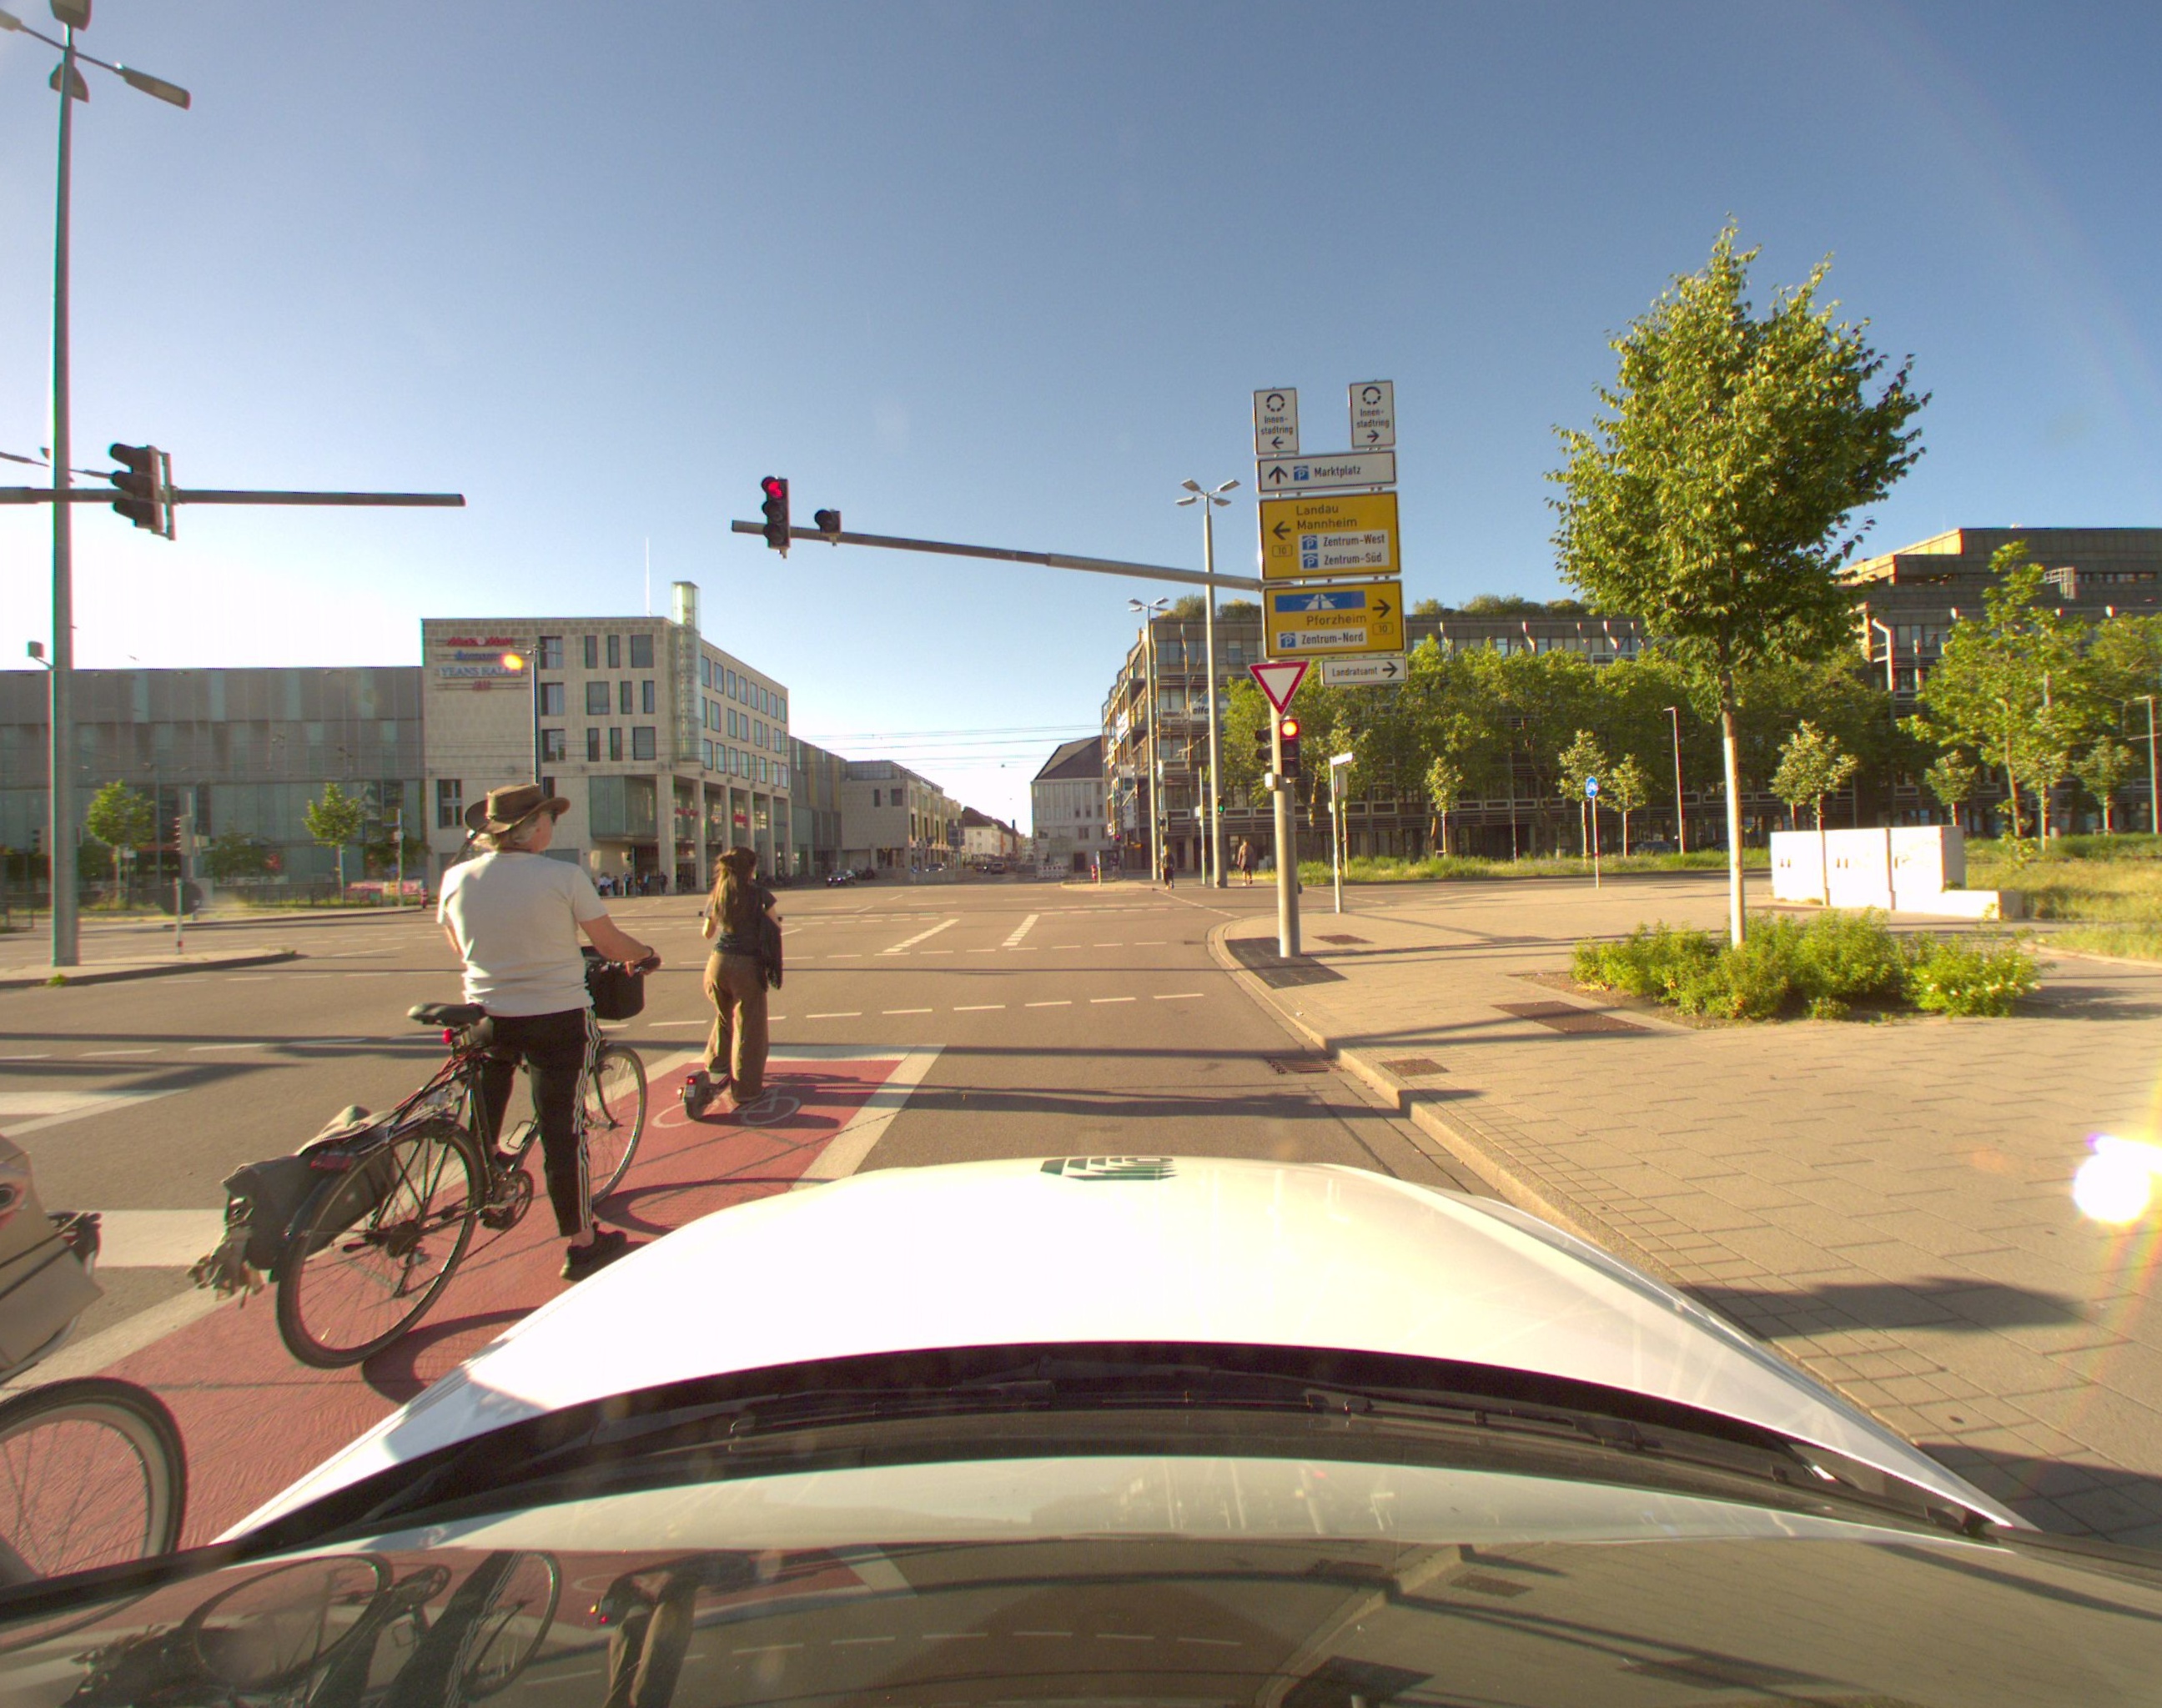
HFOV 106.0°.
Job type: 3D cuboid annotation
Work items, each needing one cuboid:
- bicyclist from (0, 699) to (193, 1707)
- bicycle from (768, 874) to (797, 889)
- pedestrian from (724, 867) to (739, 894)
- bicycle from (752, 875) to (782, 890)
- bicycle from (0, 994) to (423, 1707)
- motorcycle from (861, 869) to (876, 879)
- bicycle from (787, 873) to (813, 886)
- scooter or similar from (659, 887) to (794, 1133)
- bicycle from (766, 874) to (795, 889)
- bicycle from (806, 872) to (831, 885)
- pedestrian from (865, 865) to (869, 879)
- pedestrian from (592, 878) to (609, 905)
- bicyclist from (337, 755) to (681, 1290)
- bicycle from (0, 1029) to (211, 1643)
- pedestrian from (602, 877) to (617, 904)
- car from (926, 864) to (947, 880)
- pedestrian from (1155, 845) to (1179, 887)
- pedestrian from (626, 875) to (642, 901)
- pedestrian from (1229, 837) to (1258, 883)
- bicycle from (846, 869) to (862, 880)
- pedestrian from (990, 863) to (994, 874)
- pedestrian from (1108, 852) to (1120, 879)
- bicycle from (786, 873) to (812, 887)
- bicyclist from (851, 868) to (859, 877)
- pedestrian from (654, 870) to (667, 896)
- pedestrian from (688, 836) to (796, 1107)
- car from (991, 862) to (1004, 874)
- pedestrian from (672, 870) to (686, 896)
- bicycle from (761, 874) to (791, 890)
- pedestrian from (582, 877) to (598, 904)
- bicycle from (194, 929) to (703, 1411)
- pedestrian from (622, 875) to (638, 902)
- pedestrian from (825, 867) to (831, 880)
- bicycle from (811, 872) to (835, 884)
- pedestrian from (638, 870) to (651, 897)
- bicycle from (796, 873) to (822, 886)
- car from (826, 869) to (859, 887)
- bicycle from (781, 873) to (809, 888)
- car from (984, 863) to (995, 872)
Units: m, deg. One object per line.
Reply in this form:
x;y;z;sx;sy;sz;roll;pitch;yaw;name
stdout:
-1.702;0.593;0.824;0.639;1.579;0.875;0;0;-1;bicyclist
-26.738;2.443;72.897;2.299;1.222;0.612;-2;-1;-1;bicycle
-26.342;1.965;61.409;0.883;2.014;0.771;0;-1;-9;pedestrian
-26.731;2.414;69.375;2.299;1.222;0.612;-2;-1;-1;bicycle
-1.706;0.912;0.816;0.614;1.218;1.831;0;0;-1;bicycle
-25.778;2.440;98.740;1.807;1.206;0.509;0;0;-14;motorcycle
-27.626;2.510;80.127;2.299;1.222;0.612;-2;-1;-1;bicycle
-2.157;0.871;5.075;0.547;1.294;1.188;0;-1;-13;scooter or similar
-26.563;2.434;72.012;2.299;1.222;0.612;-2;-1;-1;bicycle
-27.585;2.556;85.582;2.299;1.222;0.612;-2;-1;-1;bicycle
-26.098;2.201;99.357;0.521;1.679;0.580;0;0;-12;pedestrian
-33.867;2.617;57.374;0.783;1.885;0.716;0;-1;-4;pedestrian
-2.056;0.544;3.061;0.658;1.720;0.866;0;-1;1;bicyclist
-2.423;0.982;0.980;0.645;1.109;1.970;0;0;-1;bicycle
-33.990;2.629;58.721;0.714;1.885;0.786;0;-1;-6;pedestrian
-16.222;1.991;91.416;1.793;1.657;3.997;0;-1;-2;car
3.067;0.439;29.183;0.785;1.492;0.644;0;-1;1;pedestrian
-32.511;2.472;59.245;0.783;1.885;0.716;0;-1;-4;pedestrian
6.058;0.226;30.382;0.875;1.665;0.965;0;-1;1;pedestrian
-26.492;2.370;94.938;0.505;1.206;1.821;-1;0;43;bicycle
-12.819;2.074;117.525;0.520;1.679;0.582;0;0;-5;pedestrian
2.326;0.820;57.413;0.785;1.890;0.644;0;-1;1;pedestrian
-27.060;2.489;78.132;2.299;1.222;0.612;-2;-1;-1;bicycle
-26.389;2.150;95.074;0.505;1.084;0.629;0;0;42;bicyclist
-30.790;2.123;59.667;0.800;1.843;0.856;-2;0;-26;pedestrian
-2.163;0.707;5.244;0.549;1.633;0.569;0;-1;-13;pedestrian
-11.134;1.870;108.656;1.735;1.531;3.848;0;-1;-5;car
-29.104;2.071;58.941;0.801;1.843;0.855;-2;0;-30;pedestrian
-26.460;2.422;70.653;2.299;1.222;0.612;-2;-1;-1;bicycle
-35.178;2.602;58.354;0.783;1.885;0.716;0;-1;-4;pedestrian
-2.149;0.944;3.138;0.483;1.156;1.832;0;-1;2;bicycle
-31.944;2.455;57.693;0.783;1.885;0.716;0;-1;-4;pedestrian
-31.256;2.408;100.659;0.570;1.679;0.614;0;0;-8;pedestrian
-27.421;2.564;86.648;2.299;1.222;0.612;-2;-1;-1;bicycle
-31.238;2.113;58.282;0.718;1.885;0.781;0;-1;-25;pedestrian
-27.182;2.517;81.344;2.299;1.222;0.612;-2;-1;-1;bicycle
-20.622;2.057;70.508;1.625;1.342;3.999;-4;-1;0;car
-26.694;2.469;75.965;2.299;1.222;0.612;-2;-1;-1;bicycle
-16.574;2.464;147.521;1.793;1.657;3.997;0;-1;-2;car
